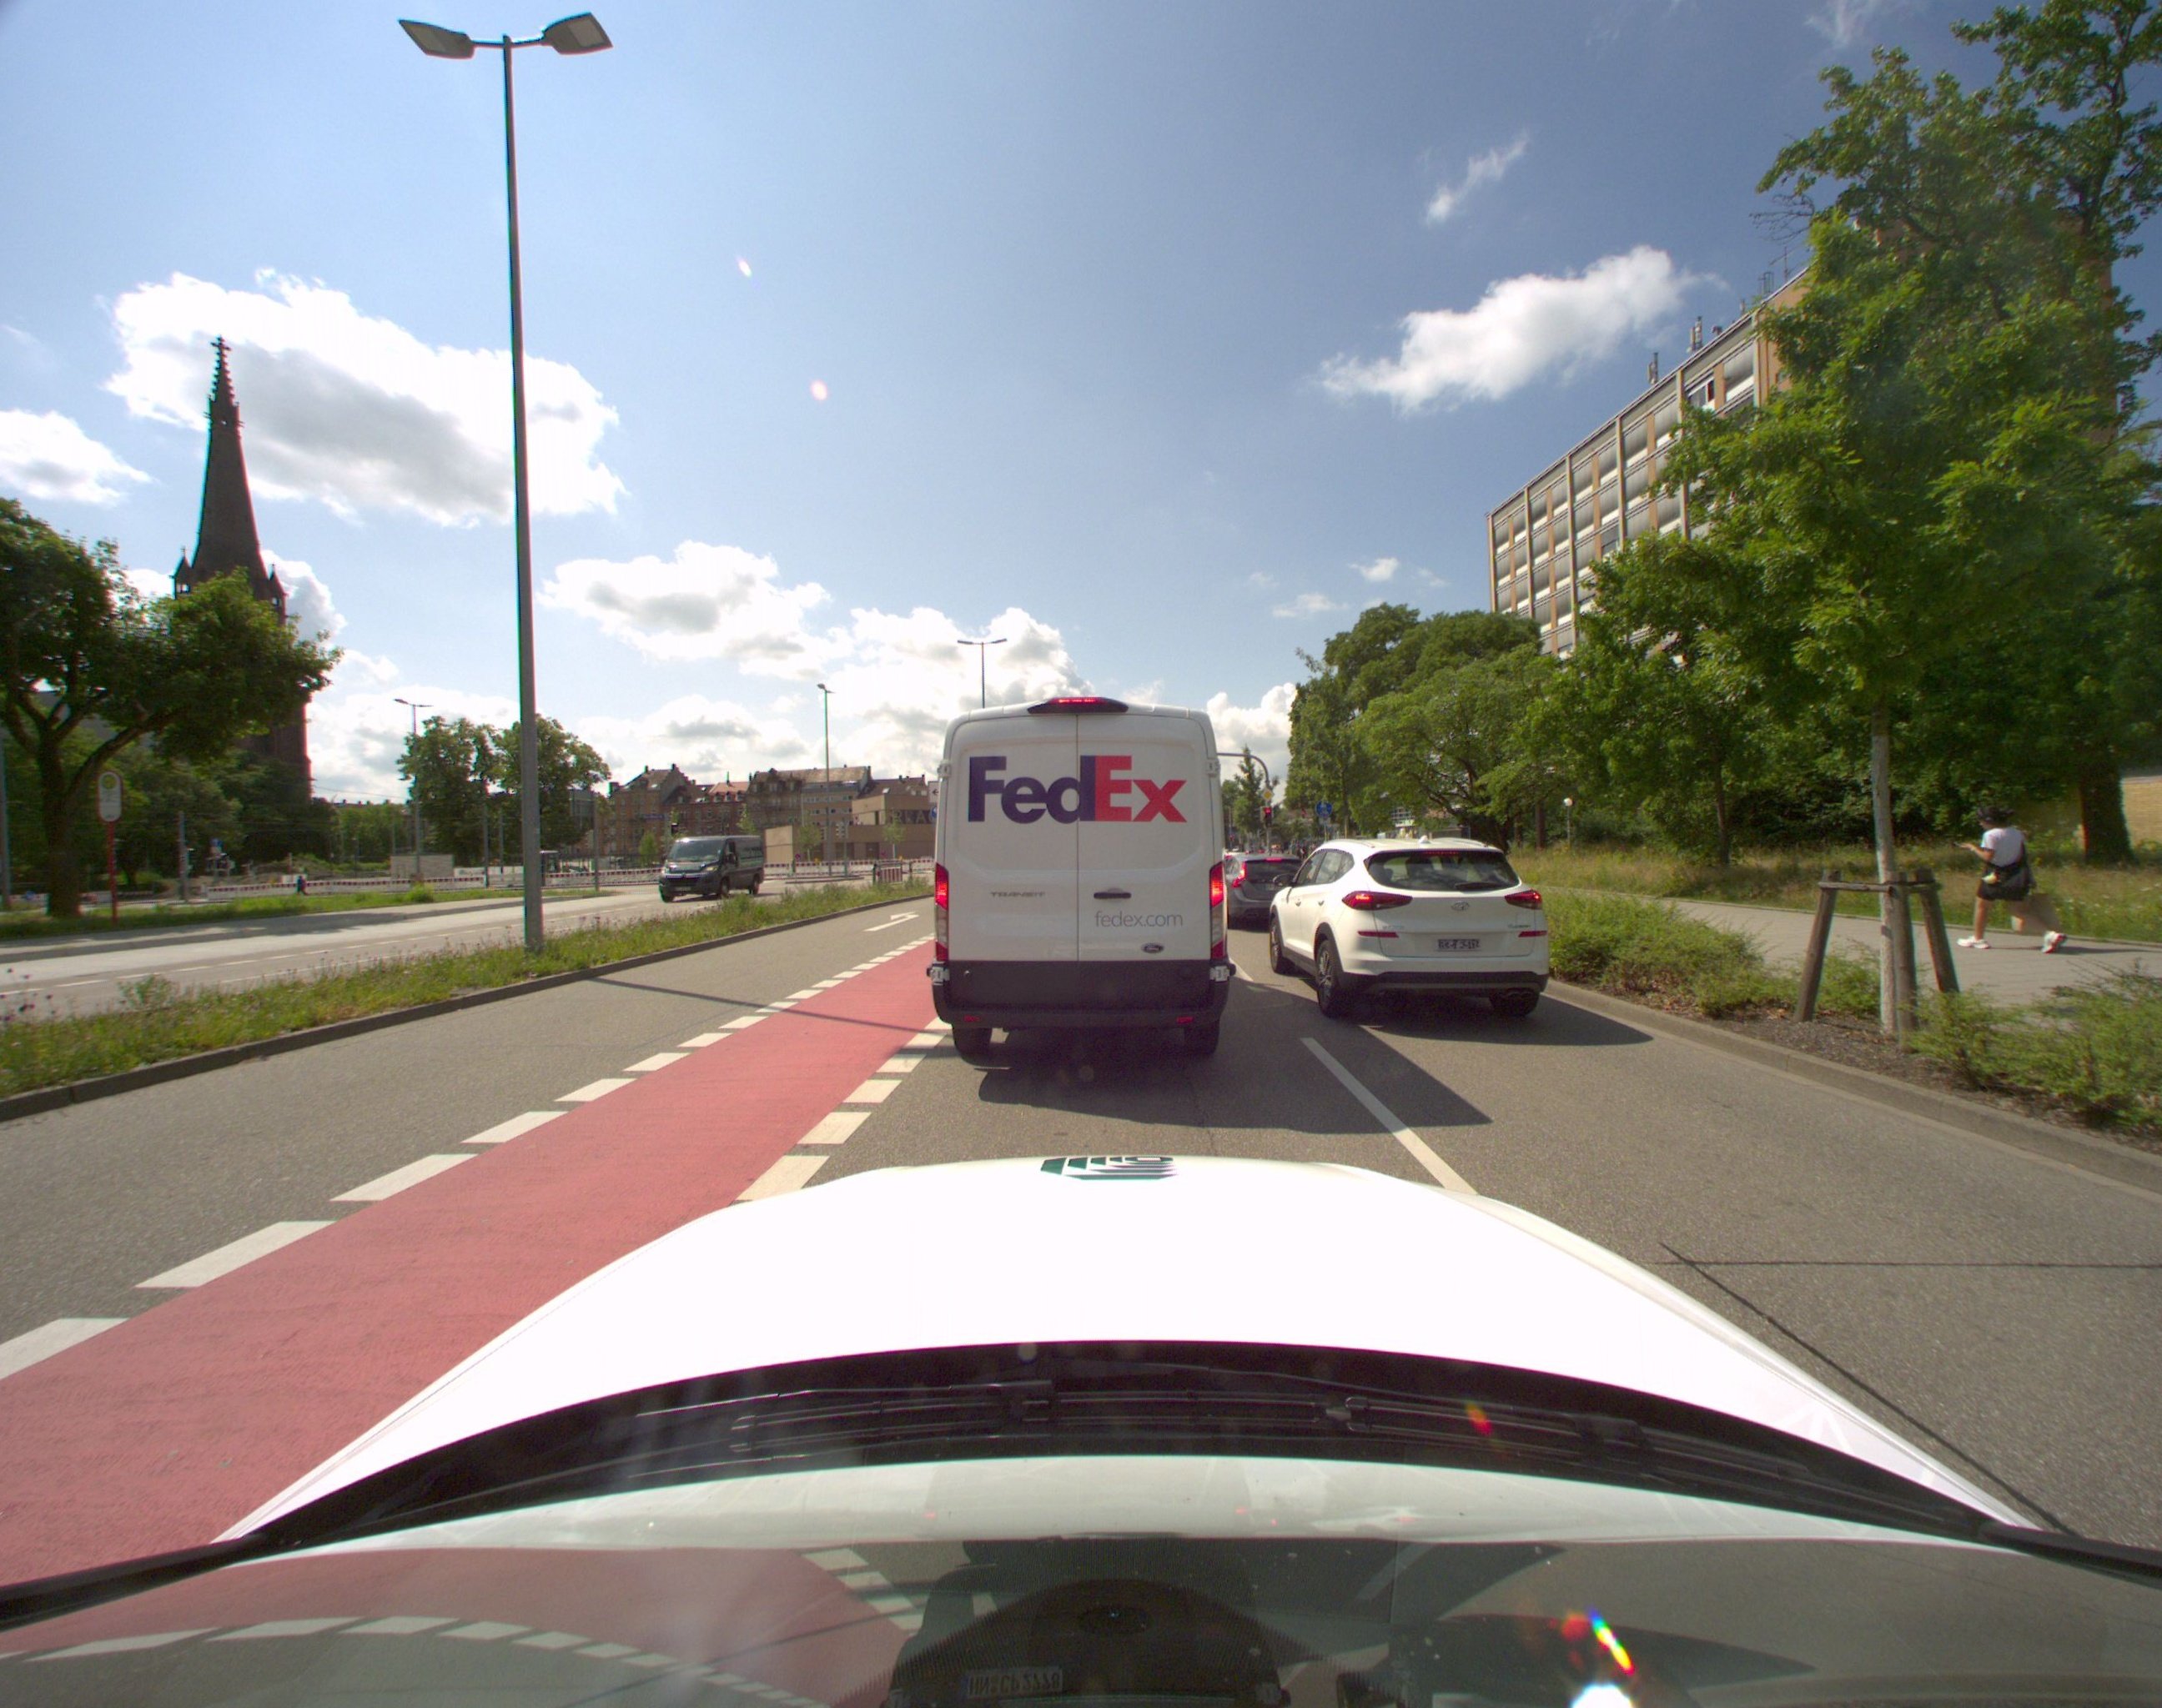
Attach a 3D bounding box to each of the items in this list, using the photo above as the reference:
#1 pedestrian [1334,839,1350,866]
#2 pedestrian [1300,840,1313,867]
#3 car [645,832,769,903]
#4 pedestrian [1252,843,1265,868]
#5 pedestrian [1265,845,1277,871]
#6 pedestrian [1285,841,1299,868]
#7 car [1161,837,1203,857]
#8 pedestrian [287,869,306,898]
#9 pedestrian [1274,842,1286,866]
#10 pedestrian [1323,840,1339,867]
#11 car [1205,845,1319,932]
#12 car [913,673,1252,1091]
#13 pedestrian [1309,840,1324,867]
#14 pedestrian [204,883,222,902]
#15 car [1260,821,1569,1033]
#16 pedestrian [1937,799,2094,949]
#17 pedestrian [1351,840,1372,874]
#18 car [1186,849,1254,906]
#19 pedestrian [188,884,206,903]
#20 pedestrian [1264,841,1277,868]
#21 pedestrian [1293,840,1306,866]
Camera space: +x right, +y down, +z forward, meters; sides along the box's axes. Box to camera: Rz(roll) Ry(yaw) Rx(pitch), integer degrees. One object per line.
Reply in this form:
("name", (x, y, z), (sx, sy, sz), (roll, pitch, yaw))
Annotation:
("pedestrian", (17.943, -0.096, 55.983), (0.758, 1.849, 0.814), (-2, 0, -6))
("pedestrian", (15.382, -0.021, 55.561), (0.754, 1.789, 0.818), (-2, 0, 10))
("car", (-13.070, 0.422, 28.885), (2.143, 2.175, 5.013), (-4, 0, -3))
("pedestrian", (12.998, 0.104, 59.751), (0.810, 1.849, 0.762), (-2, 0, 5))
("pedestrian", (13.720, 0.313, 58.867), (0.753, 1.849, 0.820), (-2, 0, 16))
("pedestrian", (15.043, 0.048, 58.037), (0.755, 1.849, 0.817), (-2, 0, 3))
("car", (14.771, -0.969, 118.437), (2.464, 2.717, 7.128), (-1, -1, 41))
("pedestrian", (-54.667, 2.041, 56.744), (0.644, 2.013, 0.632), (-2, 0, -1))
("pedestrian", (15.216, -0.014, 62.210), (0.754, 1.849, 0.818), (-2, 0, 8))
("pedestrian", (17.132, -0.031, 55.794), (0.758, 1.849, 0.814), (-2, 0, -8))
("car", (3.612, 0.613, 16.826), (1.684, 1.549, 3.724), (-2, 0, 3))
("car", (0.133, 0.171, 7.351), (2.064, 2.581, 4.432), (-2, 0, 3))
("pedestrian", (16.254, -0.043, 56.231), (0.757, 1.849, 0.815), (-2, 0, -4))
("pedestrian", (-79.604, 3.558, 74.694), (0.860, 1.663, 0.745), (-2, 0, -29))
("car", (3.153, 0.586, 8.632), (1.807, 1.678, 3.978), (-2, 0, 3))
("pedestrian", (10.251, 0.209, 8.969), (0.755, 1.557, 0.817), (-2, 0, 3))
("pedestrian", (14.015, 0.131, 40.703), (0.755, 1.655, 0.817), (-2, 0, 5))
("car", (3.907, 0.603, 23.275), (1.493, 1.464, 3.477), (-2, 0, 3))
("pedestrian", (-79.687, 3.525, 73.402), (0.860, 1.663, 0.745), (-2, 0, -29))
("pedestrian", (13.155, 0.051, 56.524), (0.752, 1.849, 0.820), (-2, 0, 20))
("pedestrian", (15.872, -0.042, 59.144), (0.755, 1.849, 0.817), (-2, 0, 5))
